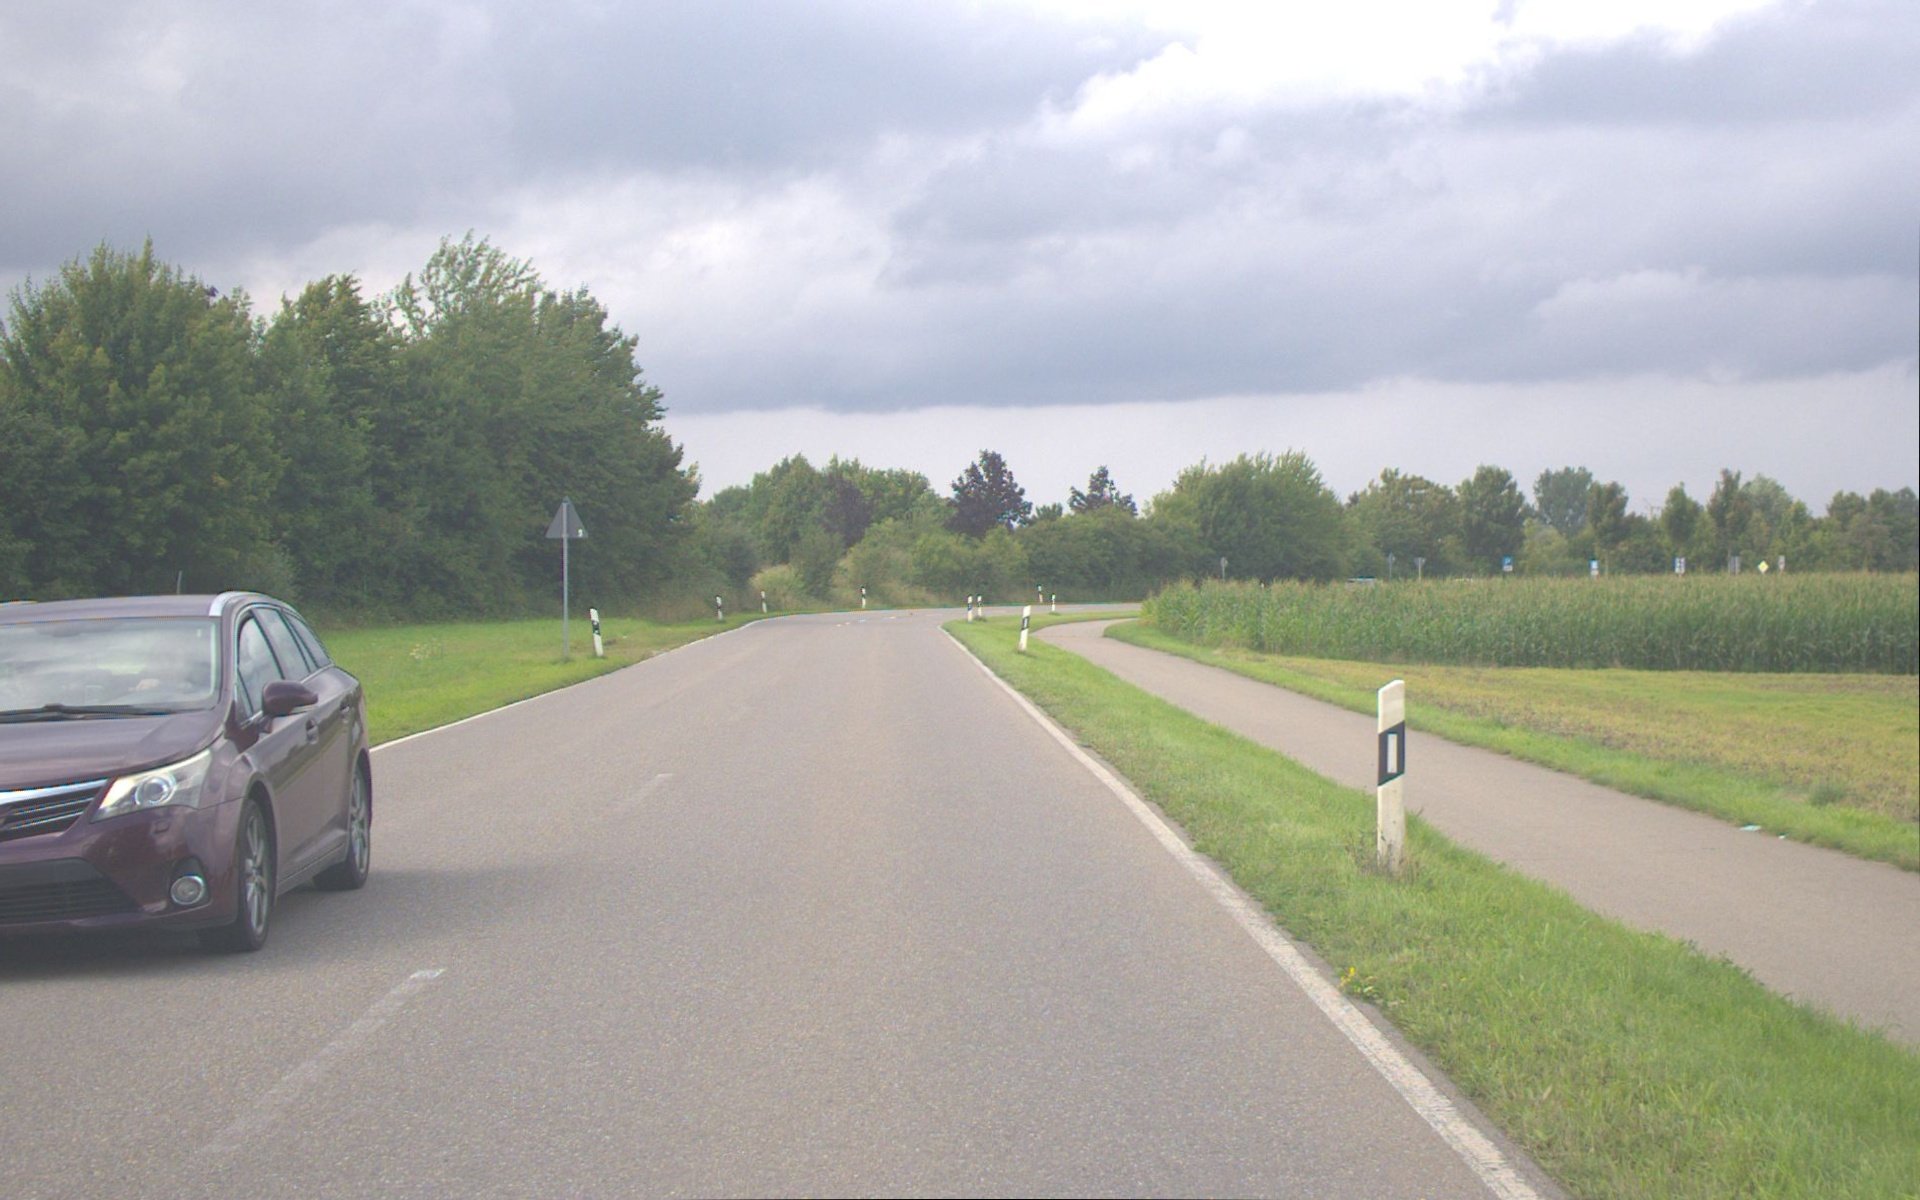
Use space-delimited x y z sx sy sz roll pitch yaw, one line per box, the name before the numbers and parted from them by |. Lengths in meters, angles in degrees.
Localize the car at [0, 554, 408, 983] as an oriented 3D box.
car | -3.637 0.613 14.757 1.864 1.546 4.182 -2 1 -1
